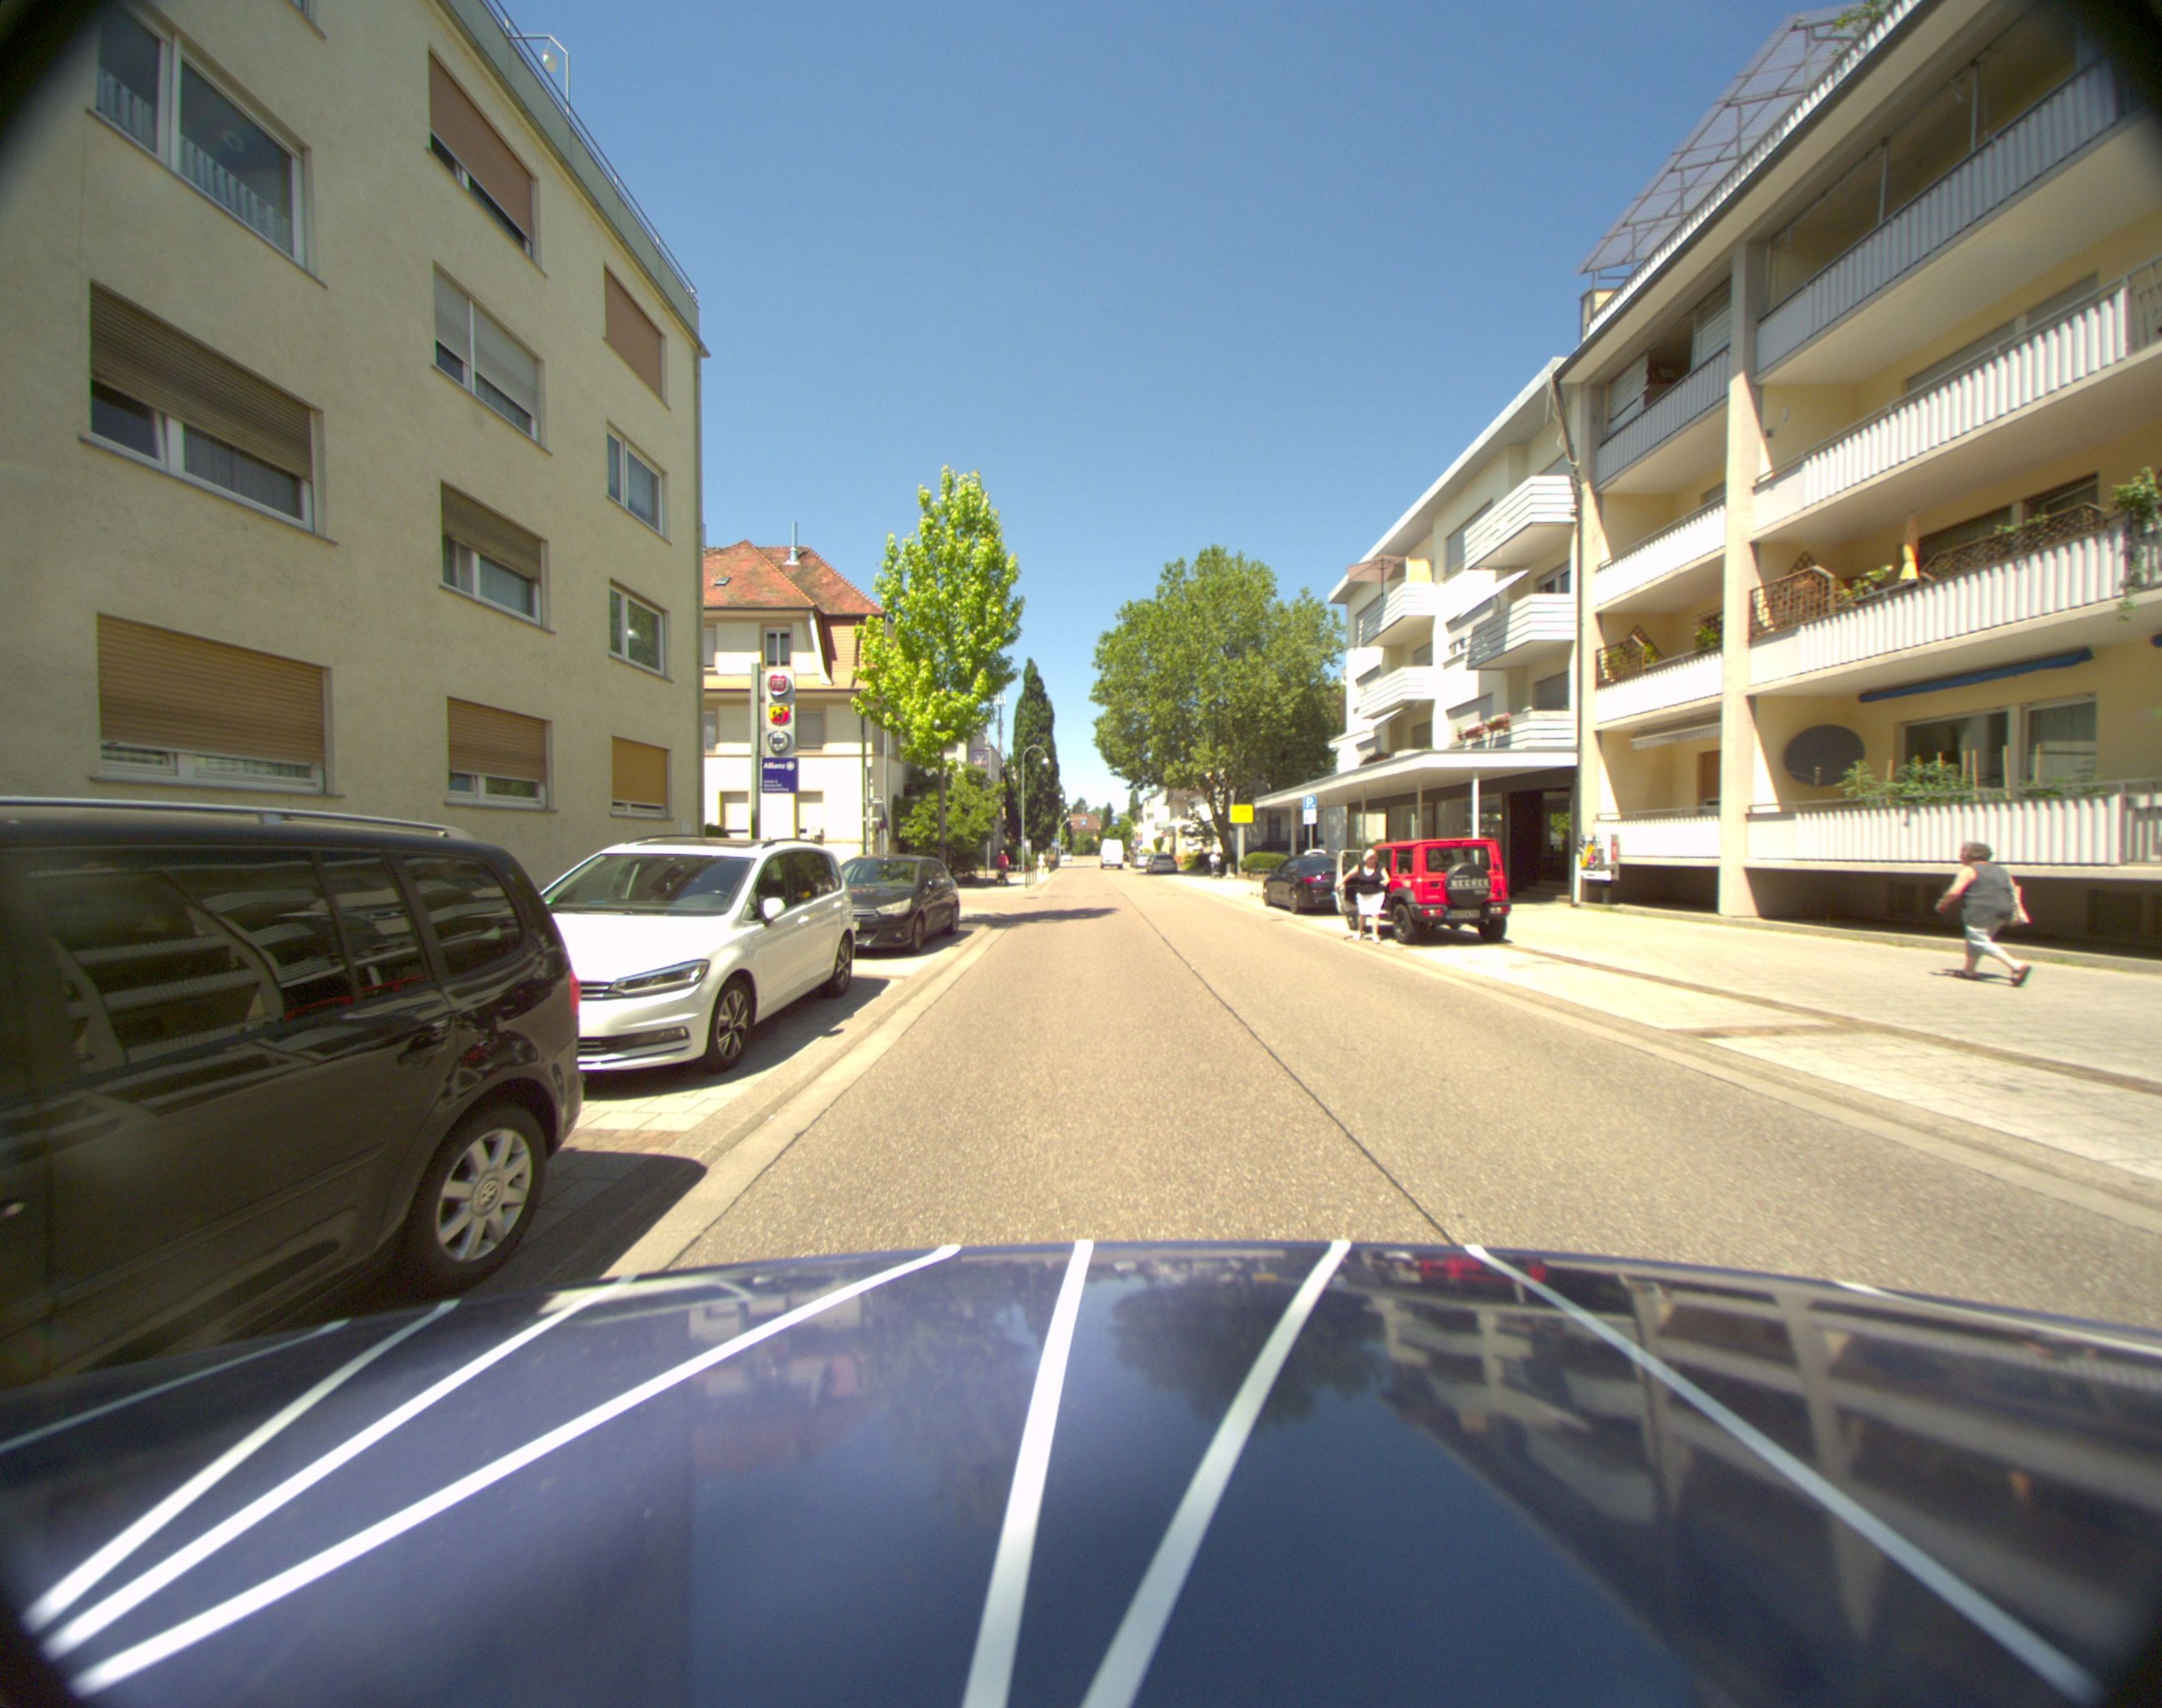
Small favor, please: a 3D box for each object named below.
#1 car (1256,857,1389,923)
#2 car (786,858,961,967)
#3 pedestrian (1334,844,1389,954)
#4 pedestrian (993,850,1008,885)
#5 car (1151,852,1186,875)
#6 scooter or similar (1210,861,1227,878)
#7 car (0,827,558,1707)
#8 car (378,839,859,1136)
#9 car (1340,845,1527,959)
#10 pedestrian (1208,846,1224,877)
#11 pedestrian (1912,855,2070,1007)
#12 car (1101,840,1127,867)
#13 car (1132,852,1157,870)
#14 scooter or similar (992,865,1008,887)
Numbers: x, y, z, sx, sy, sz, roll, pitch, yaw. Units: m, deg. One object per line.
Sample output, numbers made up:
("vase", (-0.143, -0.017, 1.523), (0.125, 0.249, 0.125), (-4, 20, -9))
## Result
("car", (6.018, 0.823, 19.465), (1.999, 1.455, 3.999), (-1, 0, -2))
("car", (-3.185, 0.818, 12.549), (1.692, 1.479, 4.134), (0, 0, 1))
("pedestrian", (4.696, 0.733, 12.747), (0.685, 1.794, 0.668), (0, 1, 0))
("pedestrian", (-3.661, 0.607, 34.731), (0.625, 1.597, 0.736), (0, 1, -2))
("car", (5.890, 0.631, 51.646), (1.998, 1.499, 4.000), (0, 0, 1))
("scooter or similar", (7.881, 0.890, 43.516), (0.639, 0.919, 0.742), (-1, 1, -23))
("car", (-2.913, 0.796, 1.062), (1.693, 1.712, 3.999), (2, 0, -3))
("car", (-3.290, 0.769, 6.501), (1.693, 1.712, 4.133), (0, 0, -2))
("car", (5.898, 0.722, 13.155), (1.644, 1.652, 3.370), (-2, 0, 1))
("pedestrian", (7.914, 0.447, 44.508), (0.639, 1.782, 0.742), (-1, 1, -23))
("pedestrian", (9.378, 0.761, 7.866), (0.778, 1.490, 0.698), (0, 1, 12))
("car", (3.036, -0.055, 70.661), (2.231, 2.452, 5.248), (0, 0, 1))
("car", (5.947, 0.627, 71.653), (1.998, 1.630, 4.000), (0, 0, 0))
("scooter or similar", (-3.608, 0.980, 33.943), (0.625, 0.926, 0.736), (0, 1, -2))
